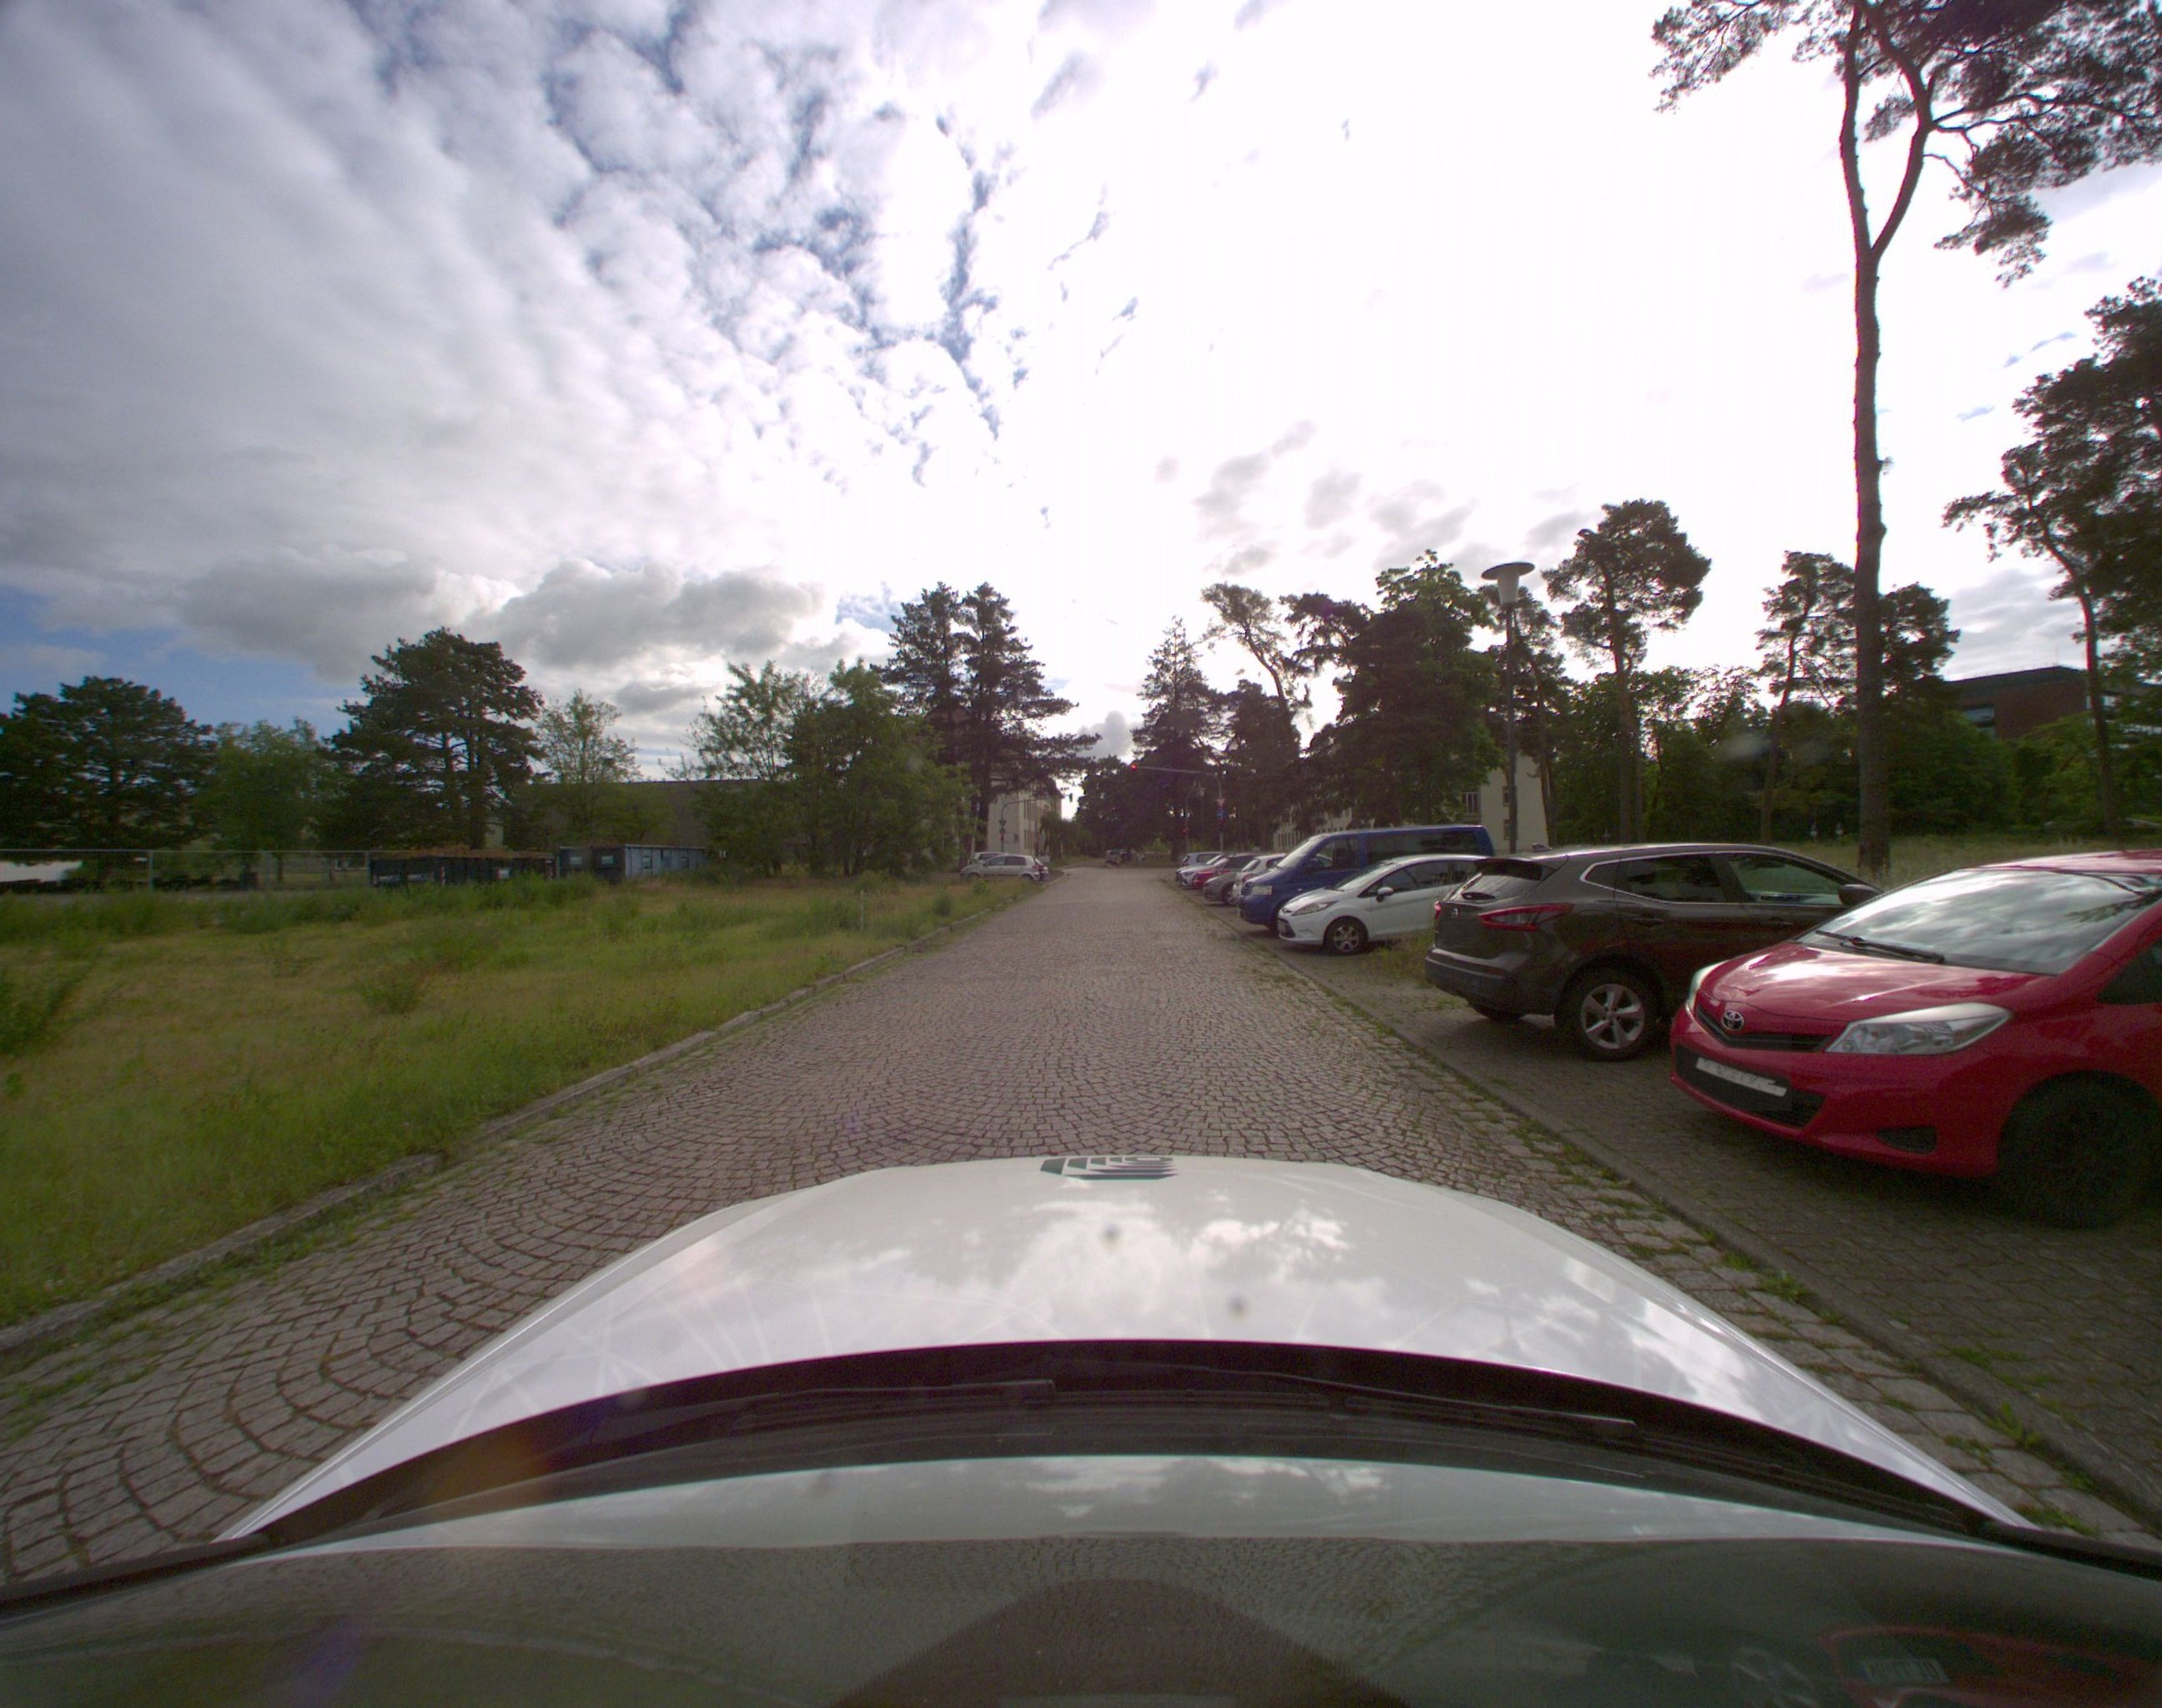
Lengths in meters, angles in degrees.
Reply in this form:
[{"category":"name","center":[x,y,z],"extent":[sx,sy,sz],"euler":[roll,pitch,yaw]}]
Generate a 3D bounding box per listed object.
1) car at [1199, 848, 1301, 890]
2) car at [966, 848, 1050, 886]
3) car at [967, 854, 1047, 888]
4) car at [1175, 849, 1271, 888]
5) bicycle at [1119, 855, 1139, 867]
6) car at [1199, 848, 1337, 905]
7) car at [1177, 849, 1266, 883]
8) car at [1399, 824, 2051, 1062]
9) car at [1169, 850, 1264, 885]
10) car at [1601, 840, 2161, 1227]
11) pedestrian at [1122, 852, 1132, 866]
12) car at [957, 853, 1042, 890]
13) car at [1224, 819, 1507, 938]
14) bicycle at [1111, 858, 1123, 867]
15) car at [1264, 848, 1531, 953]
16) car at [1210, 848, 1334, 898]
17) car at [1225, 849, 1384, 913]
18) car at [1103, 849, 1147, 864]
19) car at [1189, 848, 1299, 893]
[{"category":"car","center":[6.542,0.586,31.755],"extent":[3.660,1.449,1.524],"euler":[-2,0,0]},{"category":"car","center":[-3.924,0.687,44.194],"extent":[4.246,1.840,1.744],"euler":[-2,0,1]},{"category":"car","center":[-3.700,0.844,41.195],"extent":[3.807,1.572,1.565],"euler":[-2,0,1]},{"category":"car","center":[5.899,0.597,34.030],"extent":[3.663,1.421,1.522],"euler":[-2,0,-2]},{"category":"bicycle","center":[5.201,0.753,88.545],"extent":[2.131,1.215,0.621],"euler":[0,0,-3]},{"category":"car","center":[5.396,0.641,23.803],"extent":[3.660,1.449,1.524],"euler":[-2,0,0]},{"category":"car","center":[6.788,0.566,39.514],"extent":[3.958,1.421,1.618],"euler":[-2,0,-2]},{"category":"car","center":[5.012,0.643,6.770],"extent":[4.016,1.552,1.751],"euler":[-2,0,-1]},{"category":"car","center":[6.106,0.598,36.882],"extent":[3.958,1.421,1.618],"euler":[-2,0,-2]},{"category":"car","center":[5.100,0.701,4.117],"extent":[3.777,1.460,1.752],"euler":[-2,0,2]},{"category":"pedestrian","center":[5.014,0.549,88.895],"extent":[1.031,1.614,0.757],"euler":[0,0,-3]},{"category":"car","center":[-3.846,0.809,38.780],"extent":[3.811,1.572,1.563],"euler":[-2,0,-1]},{"category":"car","center":[5.333,0.450,15.740],"extent":[4.738,1.954,1.931],"euler":[-2,0,0]},{"category":"bicycle","center":[3.728,0.861,84.518],"extent":[0.623,0.945,1.649],"euler":[0,0,-25]},{"category":"car","center":[4.984,0.709,13.155],"extent":[3.660,1.449,1.614],"euler":[-2,0,-1]},{"category":"car","center":[6.221,0.609,26.769],"extent":[3.660,1.449,1.524],"euler":[-2,0,0]},{"category":"car","center":[5.699,0.668,21.012],"extent":[3.660,1.449,1.524],"euler":[-2,0,0]},{"category":"car","center":[5.730,0.327,106.459],"extent":[5.440,2.013,2.263],"euler":[0,0,-7]},{"category":"car","center":[5.858,0.594,29.489],"extent":[3.660,1.449,1.524],"euler":[-2,0,0]}]
